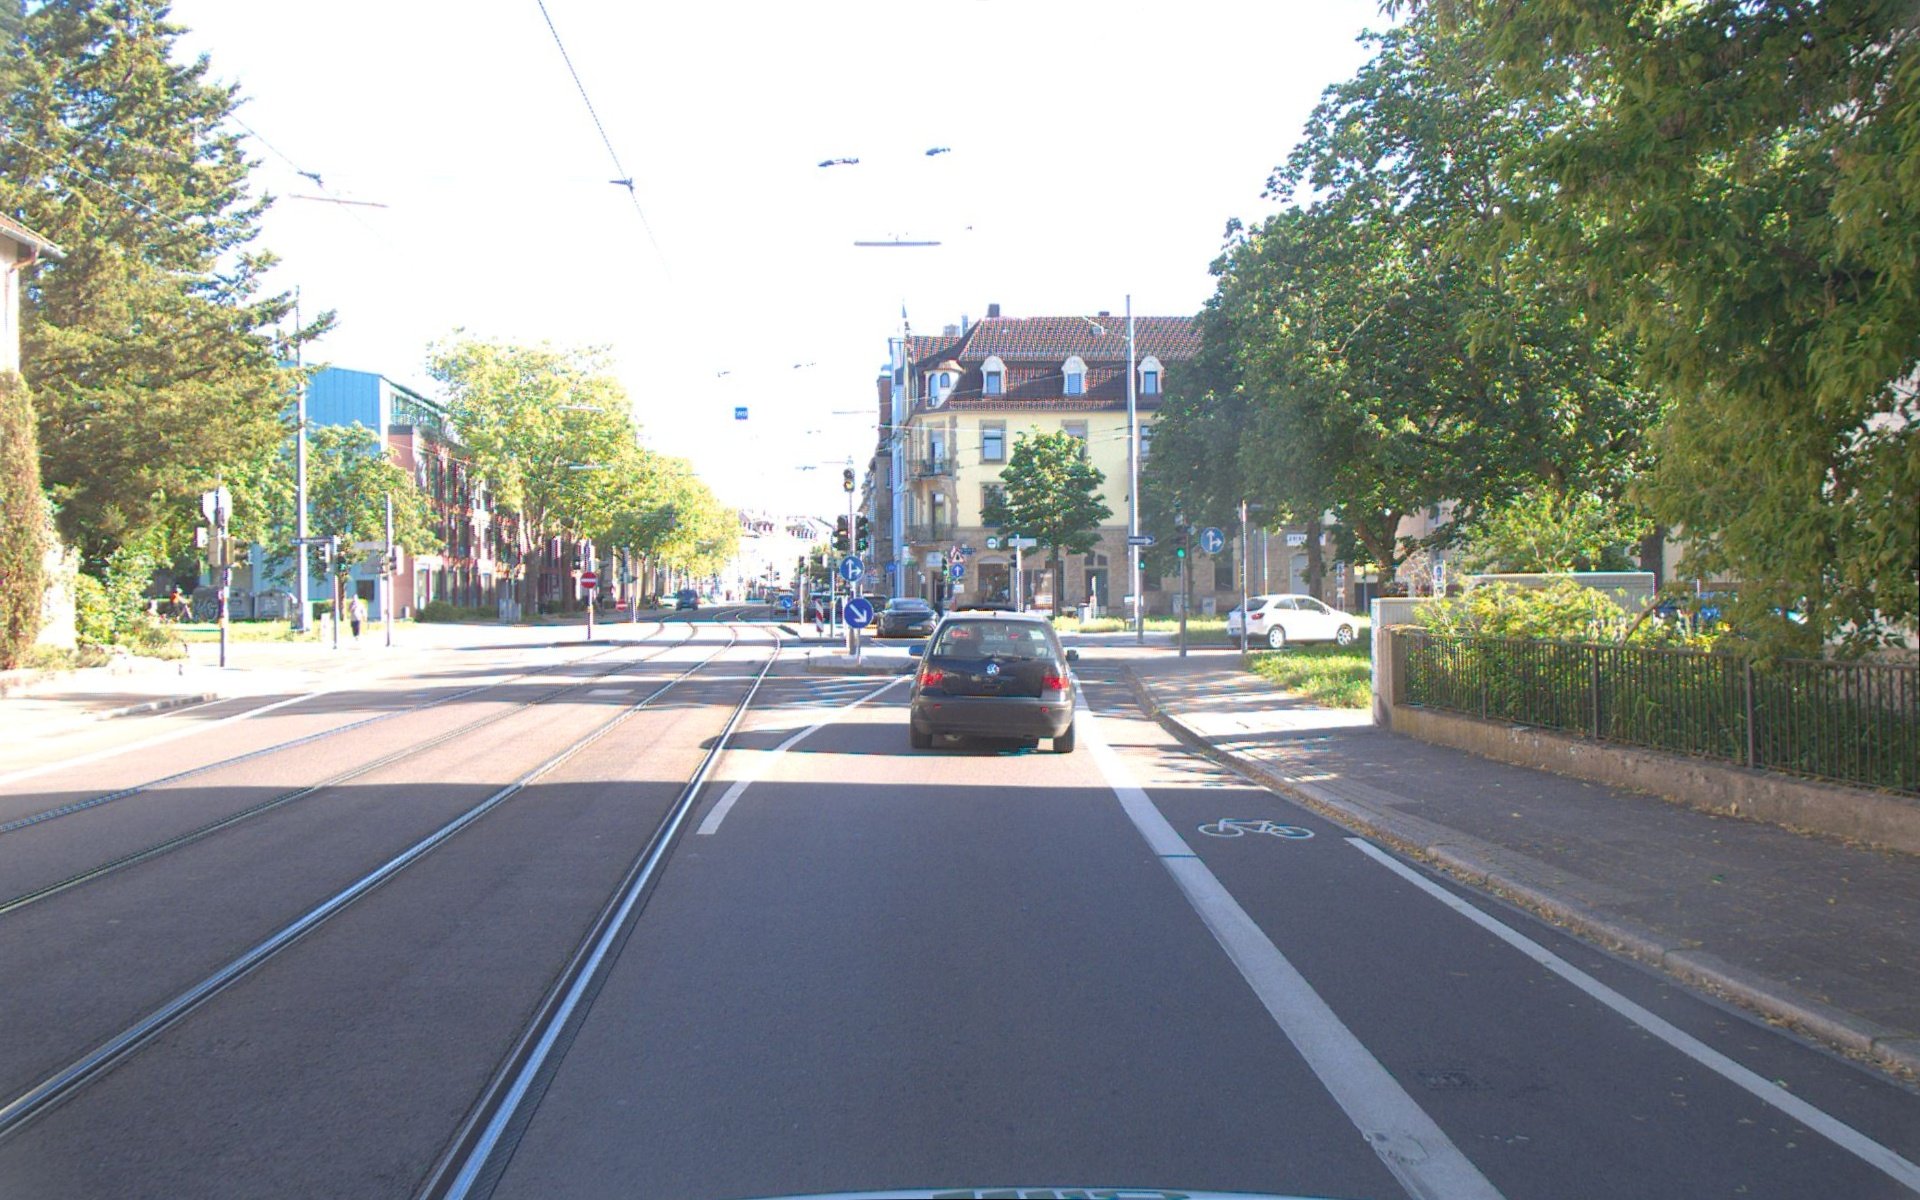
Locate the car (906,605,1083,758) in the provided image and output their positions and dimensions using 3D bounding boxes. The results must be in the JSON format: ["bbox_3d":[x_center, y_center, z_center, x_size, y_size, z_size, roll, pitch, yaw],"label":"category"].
[{"bbox_3d":[0.466,0.784,17.860,1.680,1.427,4.008,1,0,4],"label":"car"}]

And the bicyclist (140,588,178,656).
[{"bbox_3d":[-20.475,0.554,42.288,0.665,1.714,0.537,-1,0,2],"label":"bicyclist"}]

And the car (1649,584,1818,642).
[{"bbox_3d":[21.142,0.336,45.253,3.917,1.474,1.785,-1,0,-12],"label":"car"}]

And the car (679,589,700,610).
[{"bbox_3d":[-25.457,-0.045,155.651,1.935,1.847,4.287,-1,0,-9],"label":"car"}]

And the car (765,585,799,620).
[{"bbox_3d":[-9.795,0.125,90.862,1.753,1.892,3.994,1,0,-7],"label":"car"}]

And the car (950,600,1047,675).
[{"bbox_3d":[0.731,0.715,33.741,1.602,1.396,3.754,-1,0,-4],"label":"car"}]

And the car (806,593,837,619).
[{"bbox_3d":[-8.170,0.325,97.419,1.649,1.479,3.374,-1,0,-7],"label":"car"}]

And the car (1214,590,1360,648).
[{"bbox_3d":[8.953,0.491,45.287,3.758,1.466,1.727,-1,0,-31],"label":"car"}]

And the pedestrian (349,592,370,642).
[{"bbox_3d":[-20.982,0.599,57.763,0.601,1.719,0.728,2,0,-24],"label":"pedestrian"}]

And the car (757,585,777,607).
[{"bbox_3d":[-17.263,-0.340,147.965,1.753,1.892,3.994,-1,0,-7],"label":"car"}]

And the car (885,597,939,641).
[{"bbox_3d":[-1.703,0.639,58.038,1.540,1.334,3.642,-1,3,-7],"label":"car"}]

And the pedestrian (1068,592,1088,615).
[{"bbox_3d":[6.438,0.175,90.372,0.961,1.208,0.742,-1,0,-6],"label":"pedestrian"}]

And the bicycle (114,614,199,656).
[{"bbox_3d":[-20.534,0.899,42.287,1.905,1.033,0.538,-1,0,2],"label":"bicycle"}]

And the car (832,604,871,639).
[{"bbox_3d":[-4.944,0.951,75.177,1.540,1.334,3.495,-1,3,-7],"label":"car"}]
